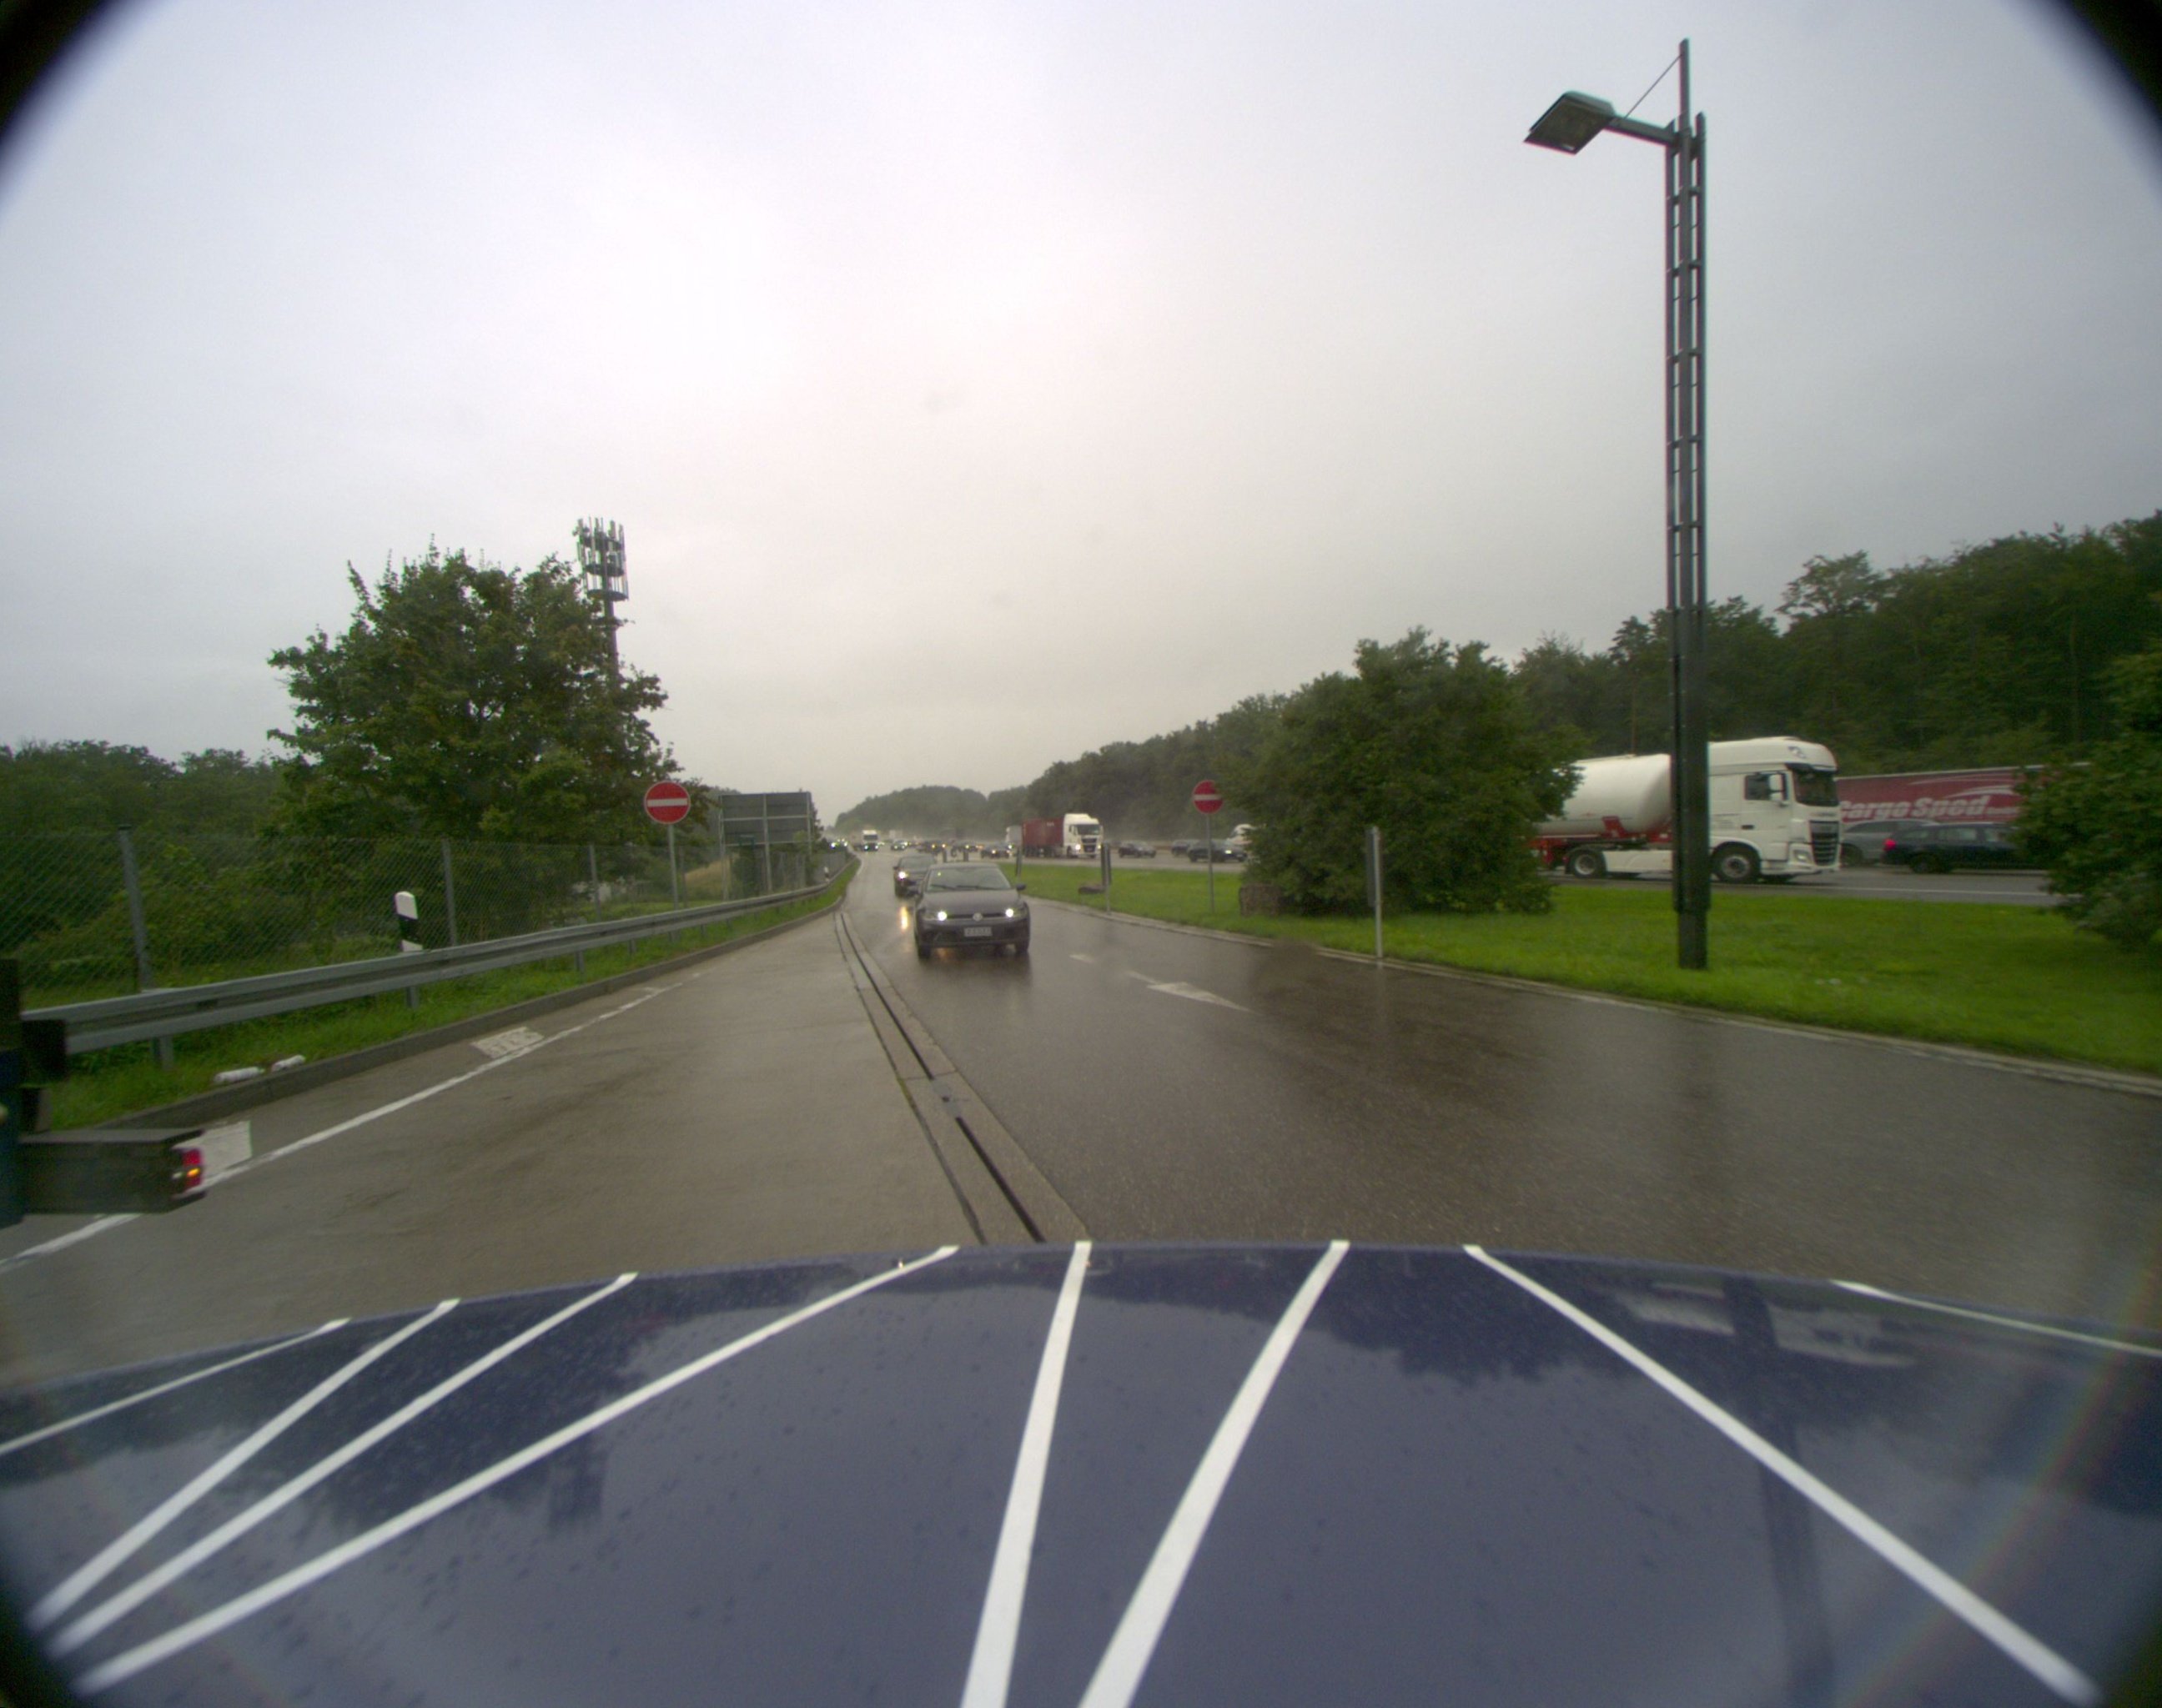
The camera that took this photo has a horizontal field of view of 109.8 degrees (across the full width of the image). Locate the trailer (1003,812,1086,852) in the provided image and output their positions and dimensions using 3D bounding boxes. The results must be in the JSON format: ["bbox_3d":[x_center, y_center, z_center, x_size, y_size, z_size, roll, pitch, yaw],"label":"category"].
[{"bbox_3d":[-4.010,-2.158,76.348,2.694,3.487,15.091,-7,4,-24],"label":"trailer"}]

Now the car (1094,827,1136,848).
[{"bbox_3d":[3.730,-1.851,84.436,2.002,2.003,5.567,-8,5,-27],"label":"car"}]

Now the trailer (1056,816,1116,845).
[{"bbox_3d":[0.591,-3.514,117.698,2.626,3.660,14.641,-7,2,-26],"label":"trailer"}]

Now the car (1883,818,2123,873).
[{"bbox_3d":[26.569,-0.244,22.077,1.826,1.406,4.114,-3,1,-26],"label":"car"}]

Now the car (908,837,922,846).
[{"bbox_3d":[-35.734,-2.775,163.285,2.002,1.802,3.991,-2,1,-25],"label":"car"}]

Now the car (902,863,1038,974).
[{"bbox_3d":[-2.068,0.943,13.063,1.672,1.395,4.255,-3,2,-16],"label":"car"}]

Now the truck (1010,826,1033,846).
[{"bbox_3d":[-12.148,-3.670,154.733,2.725,3.515,4.752,-8,3,-26],"label":"truck"}]

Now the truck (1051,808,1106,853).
[{"bbox_3d":[-0.320,-2.107,68.256,2.700,3.637,5.313,-7,4,-24],"label":"truck"}]

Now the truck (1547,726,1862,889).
[{"bbox_3d":[17.684,-1.220,22.116,2.762,3.986,6.493,-4,2,-26],"label":"truck"}]

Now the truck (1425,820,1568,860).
[{"bbox_3d":[28.975,-0.877,53.629,2.111,2.445,9.296,1,-1,-27],"label":"truck"}]

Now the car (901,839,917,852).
[{"bbox_3d":[-31.033,-1.590,137.071,1.920,2.004,3.990,-9,6,-21],"label":"car"}]

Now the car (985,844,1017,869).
[{"bbox_3d":[-7.838,0.239,74.185,1.920,2.004,3.990,-9,6,-21],"label":"car"}]

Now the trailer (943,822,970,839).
[{"bbox_3d":[-32.900,-6.180,200.886,3.041,3.791,13.379,-5,2,-26],"label":"trailer"}]

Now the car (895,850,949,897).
[{"bbox_3d":[-6.625,0.729,31.365,1.812,1.533,3.993,-7,3,-15],"label":"car"}]

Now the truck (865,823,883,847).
[{"bbox_3d":[-38.133,-3.391,140.040,2.600,4.122,5.221,-6,3,-18],"label":"truck"}]

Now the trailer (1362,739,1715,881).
[{"bbox_3d":[15.294,-1.338,27.050,2.774,4.003,11.017,-3,2,-26],"label":"trailer"}]

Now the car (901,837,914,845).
[{"bbox_3d":[-35.575,-2.601,155.759,1.799,1.499,3.991,-2,1,-25],"label":"car"}]

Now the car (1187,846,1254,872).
[{"bbox_3d":[8.990,0.305,49.322,2.003,1.568,4.492,0,0,-26],"label":"car"}]

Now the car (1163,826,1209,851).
[{"bbox_3d":[8.940,-1.347,65.032,2.002,2.002,3.991,-3,2,-25],"label":"car"}]

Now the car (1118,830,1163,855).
[{"bbox_3d":[5.088,-1.004,65.445,2.002,2.002,4.103,-4,2,-25],"label":"car"}]

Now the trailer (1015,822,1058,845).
[{"bbox_3d":[-8.871,-3.858,148.028,2.735,3.519,14.031,-8,2,-26],"label":"trailer"}]

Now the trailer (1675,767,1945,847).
[{"bbox_3d":[40.719,-2.455,43.167,2.467,3.594,10.717,-7,3,-29],"label":"trailer"}]

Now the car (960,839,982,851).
[{"bbox_3d":[-15.969,-1.302,109.901,1.791,1.550,4.089,-3,1,-28],"label":"car"}]

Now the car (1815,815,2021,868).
[{"bbox_3d":[28.535,-0.453,26.088,1.826,1.659,4.394,-2,2,-26],"label":"car"}]
